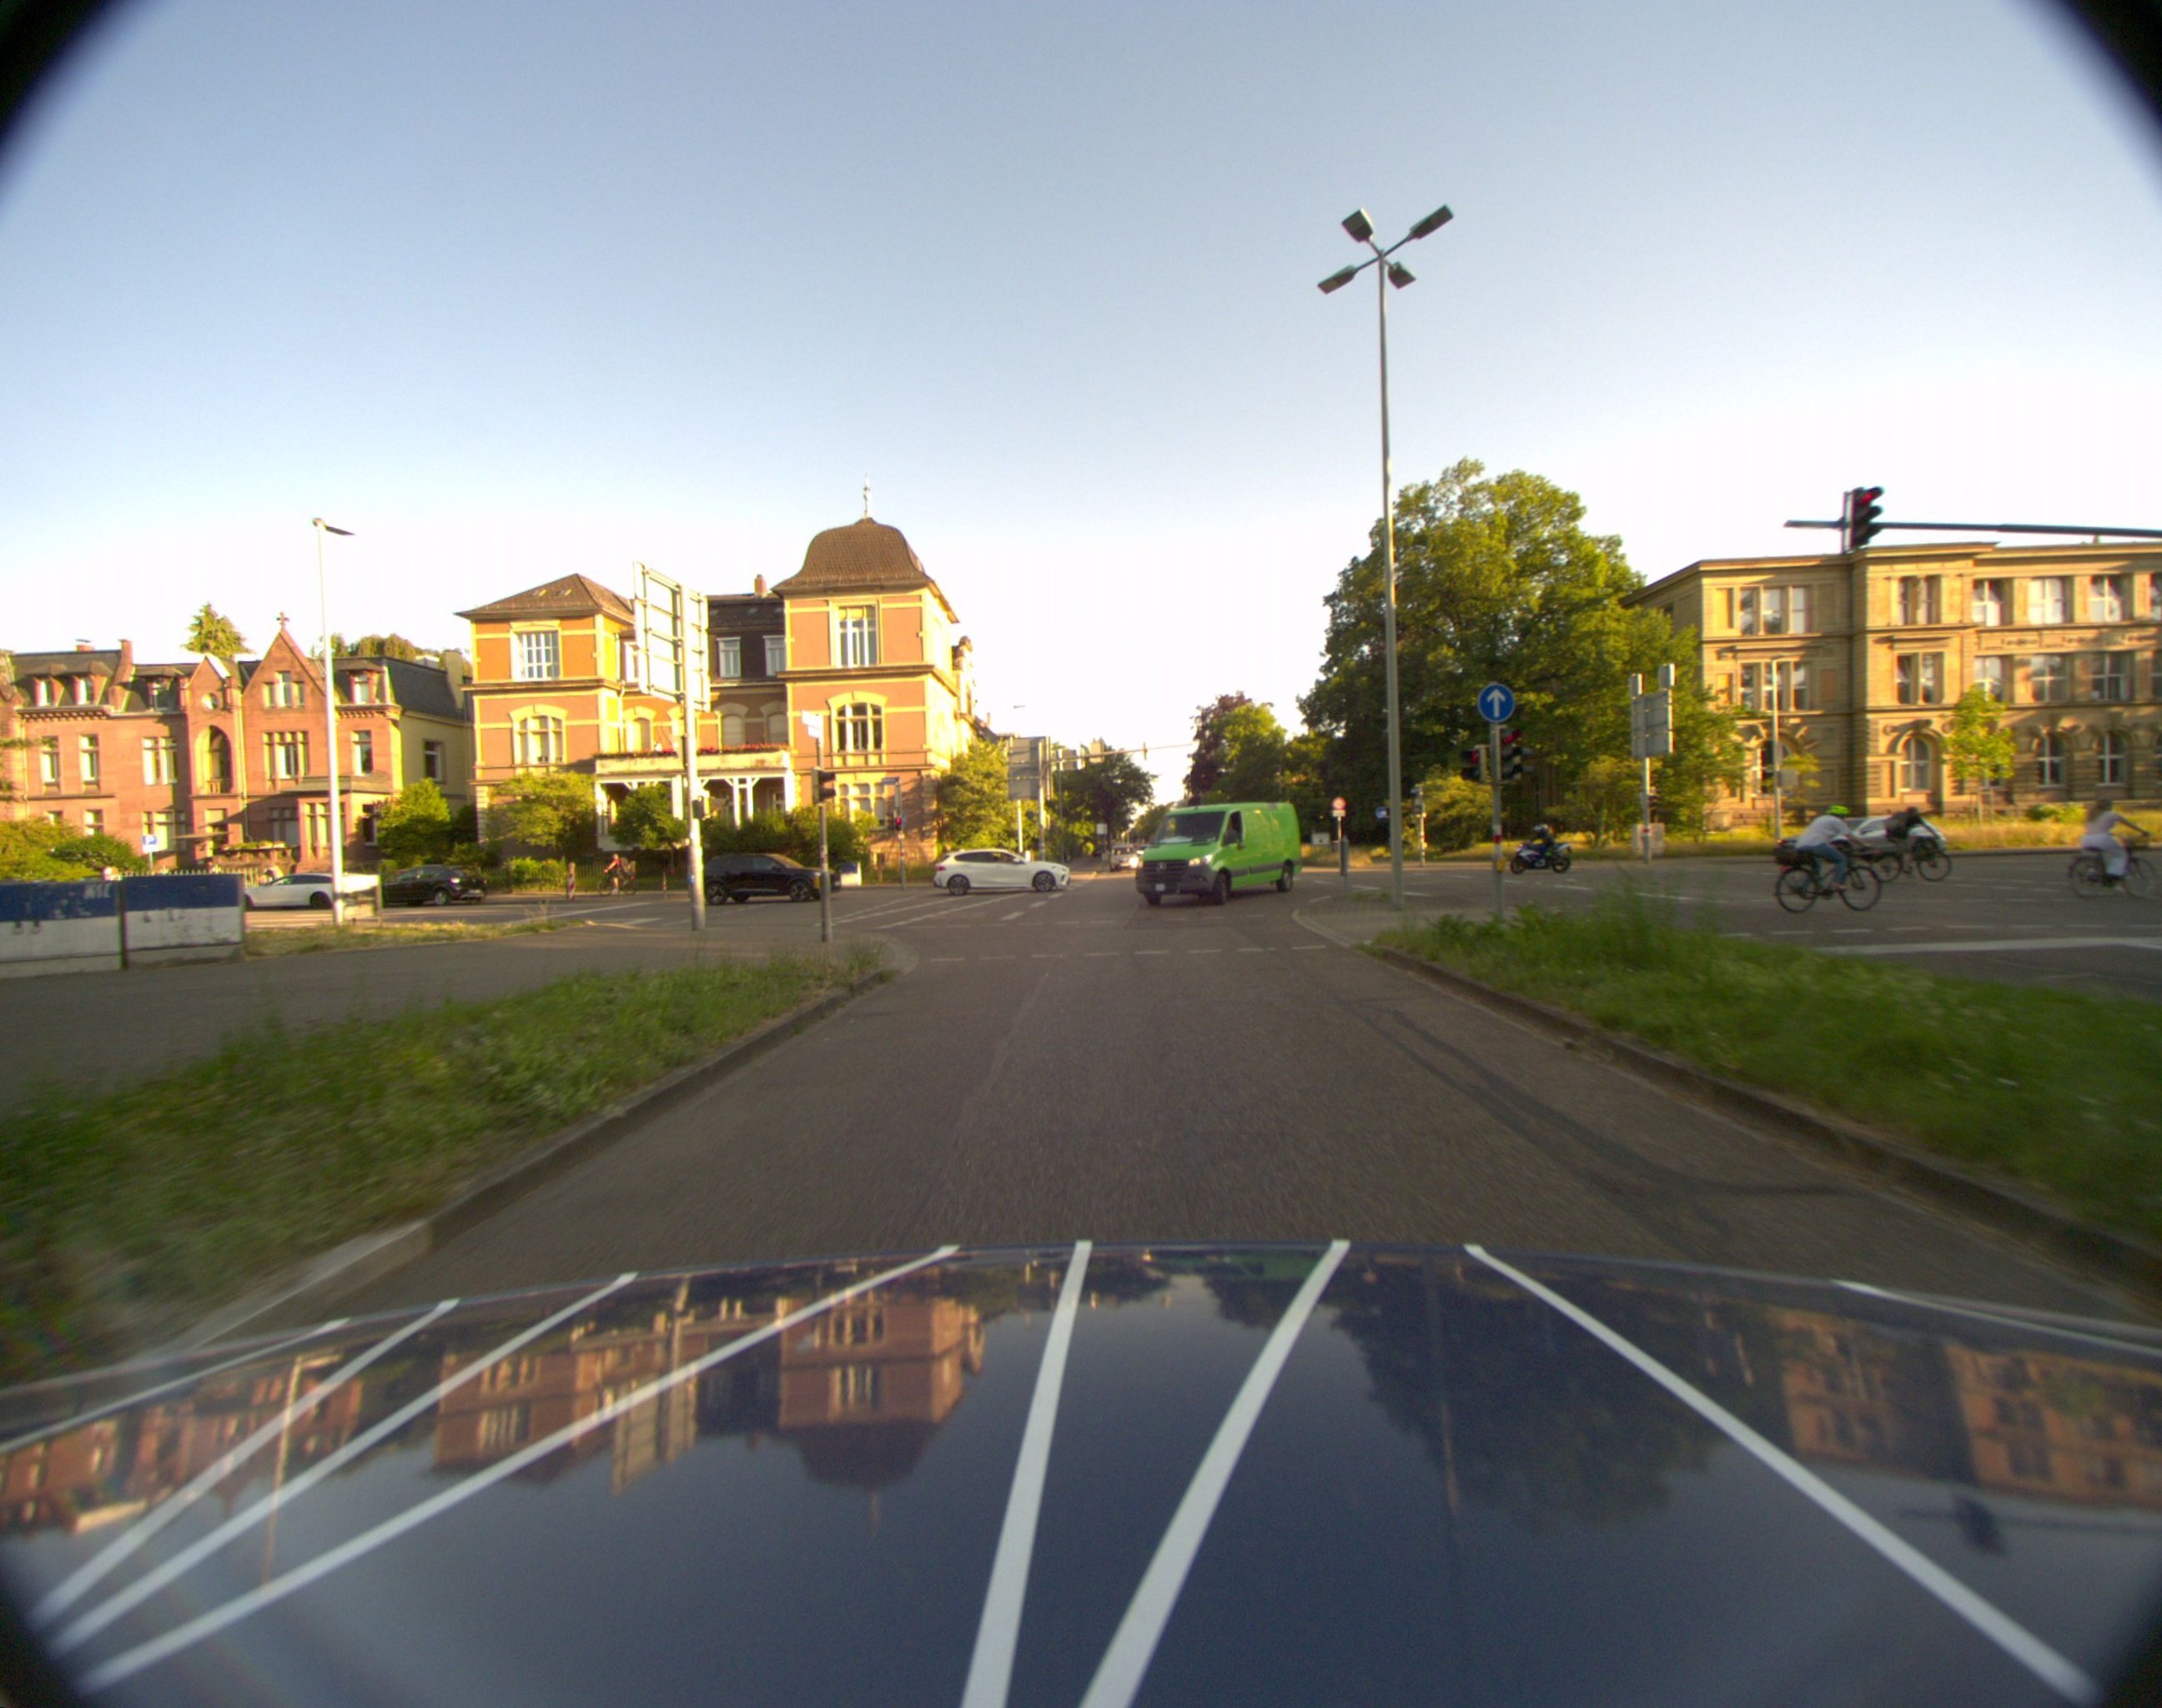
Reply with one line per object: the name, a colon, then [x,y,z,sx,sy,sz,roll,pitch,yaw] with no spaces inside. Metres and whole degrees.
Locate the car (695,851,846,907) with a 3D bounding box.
car: [-9.660,0.754,23.846,3.996,1.527,1.683,-2,1,2]

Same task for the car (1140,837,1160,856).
car: [7.249,-0.806,79.470,1.998,1.783,4.001,-2,1,5]

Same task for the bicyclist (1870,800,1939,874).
bicyclist: [19.061,-0.394,17.606,0.797,1.658,0.700,-2,3,2]

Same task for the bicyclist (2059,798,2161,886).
bicyclist: [18.398,-0.221,13.593,0.856,1.509,0.761,-3,2,-6]

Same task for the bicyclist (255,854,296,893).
bicyclist: [-34.577,0.825,32.618,0.913,1.624,0.653,-2,3,3]

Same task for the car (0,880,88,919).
car: [-42.621,1.833,30.493,3.562,1.437,1.633,-2,0,4]

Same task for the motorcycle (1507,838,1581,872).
motorcycle: [14.733,0.021,24.223,1.877,0.995,0.756,-2,1,3]

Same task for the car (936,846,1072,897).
car: [-2.489,0.538,24.745,4.187,1.457,1.756,-2,1,-5]

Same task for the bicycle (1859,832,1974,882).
bicycle: [19.338,0.064,17.619,1.823,1.057,0.701,-2,3,3]

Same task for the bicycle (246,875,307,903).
bicycle: [-34.584,1.514,32.667,1.901,1.083,0.660,-2,4,3]

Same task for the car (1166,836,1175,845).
car: [18.654,-2.845,158.237,1.675,1.718,3.637,-2,1,4]

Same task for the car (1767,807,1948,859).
car: [27.510,-0.734,27.022,4.508,1.626,1.770,-2,1,3]

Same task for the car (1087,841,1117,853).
car: [2.864,-1.001,103.450,3.838,1.500,1.811,1,4,42]

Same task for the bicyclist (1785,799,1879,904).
bicyclist: [11.582,-0.043,11.731,0.898,1.561,0.555,-2,1,-2]

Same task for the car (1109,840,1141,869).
car: [2.556,-0.022,44.215,1.689,1.501,3.701,-4,1,4]

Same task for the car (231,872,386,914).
car: [-30.268,1.508,29.850,4.429,1.434,1.610,-2,-1,0]

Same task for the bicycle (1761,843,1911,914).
bicycle: [11.646,0.365,11.741,1.801,1.008,0.565,-2,1,-2]

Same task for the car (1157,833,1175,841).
car: [18.249,-3.591,163.425,3.755,1.609,1.823,-2,1,5]

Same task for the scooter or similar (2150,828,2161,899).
scooter or similar: [18.800,0.150,12.536,1.420,1.182,0.563,-2,2,4]

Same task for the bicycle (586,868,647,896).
bicycle: [-19.860,1.192,32.506,2.166,1.117,0.688,-2,2,3]

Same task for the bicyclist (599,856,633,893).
bicyclist: [-19.867,0.853,32.494,0.955,1.504,0.685,-2,2,3]

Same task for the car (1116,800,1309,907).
car: [3.507,-0.128,19.039,2.039,2.265,5.952,-1,2,39]

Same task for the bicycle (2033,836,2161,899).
bicycle: [18.452,0.217,13.613,2.015,1.001,0.773,-3,2,-6]

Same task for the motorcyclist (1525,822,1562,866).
motorcyclist: [14.729,-0.319,24.205,0.703,1.350,0.752,-2,1,3]

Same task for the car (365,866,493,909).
car: [-25.544,1.303,29.839,3.719,1.525,1.634,-2,-1,4]
